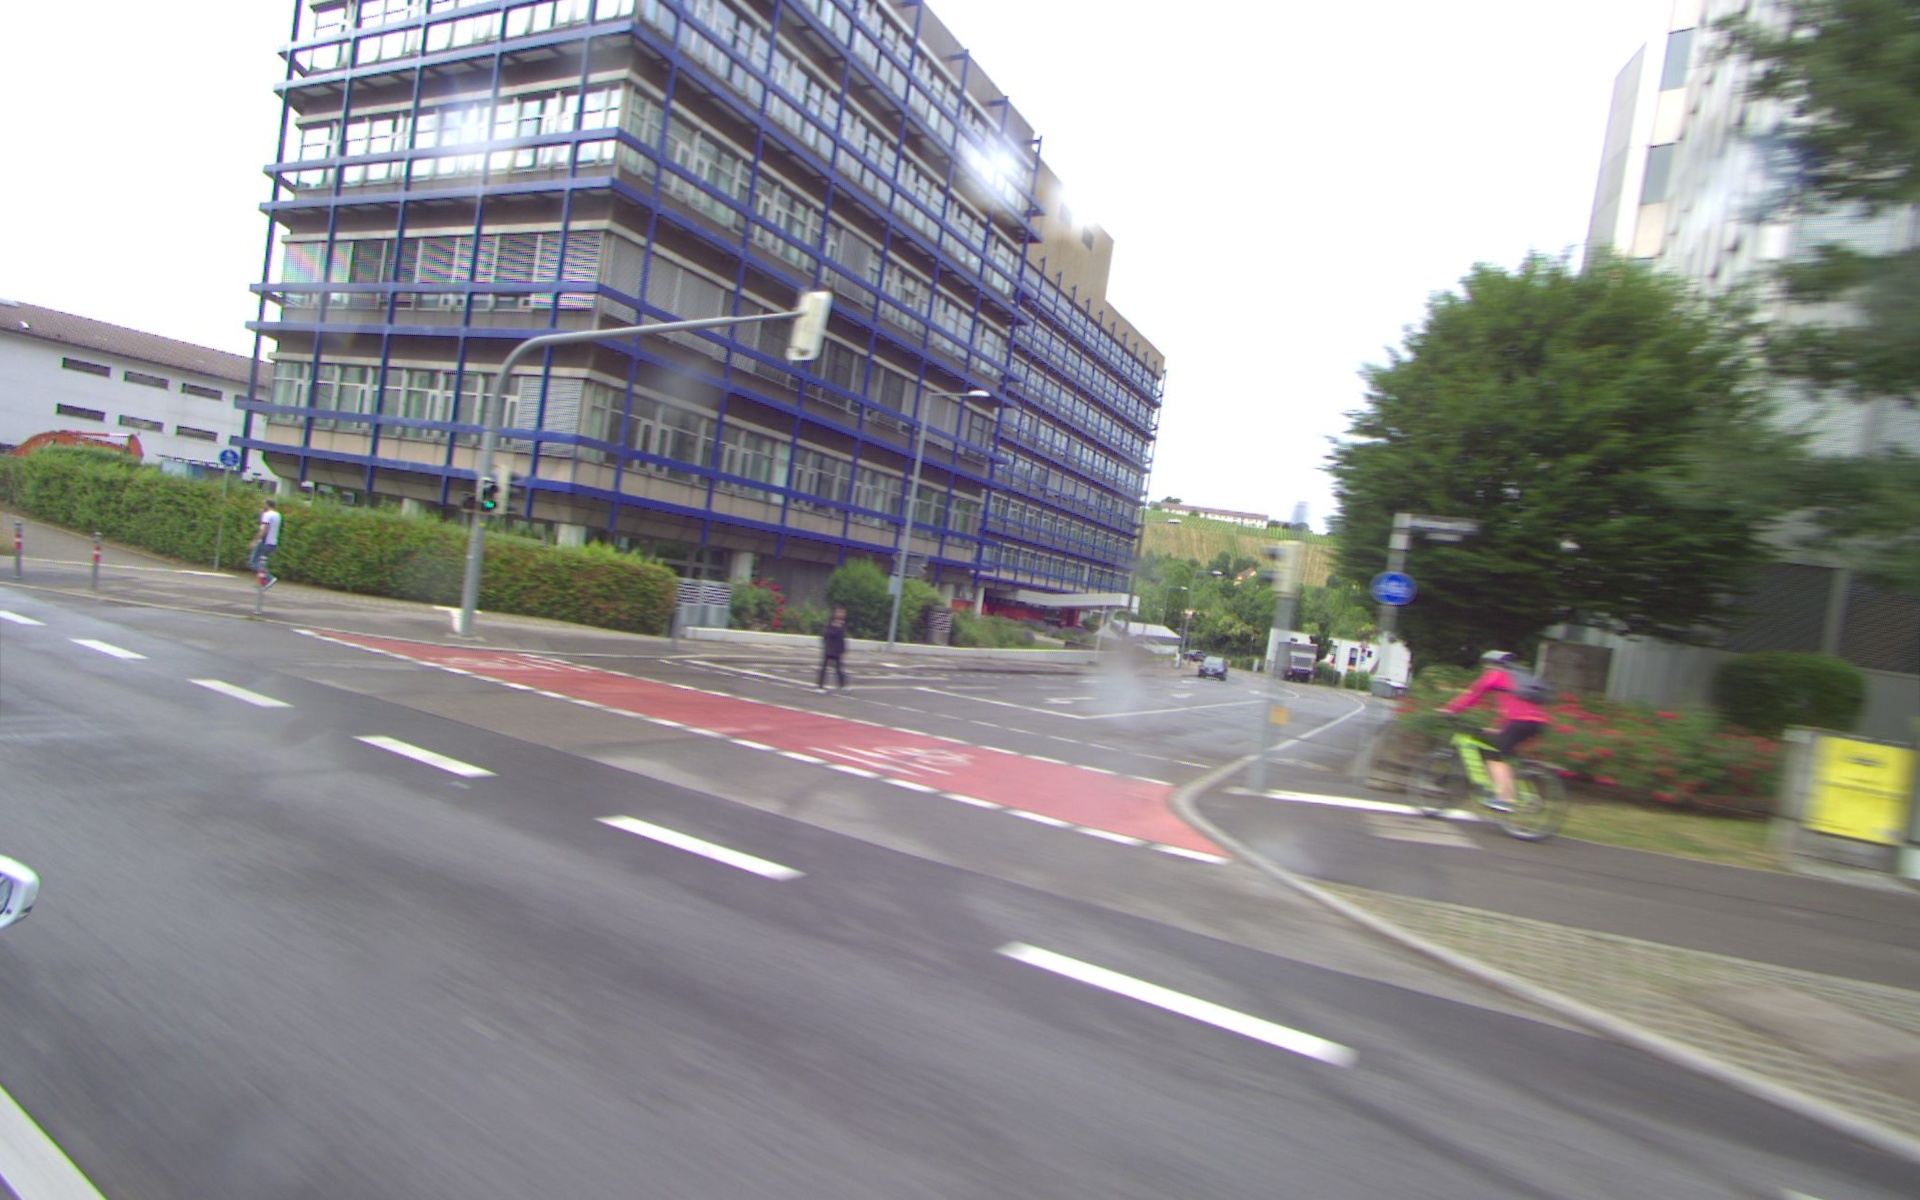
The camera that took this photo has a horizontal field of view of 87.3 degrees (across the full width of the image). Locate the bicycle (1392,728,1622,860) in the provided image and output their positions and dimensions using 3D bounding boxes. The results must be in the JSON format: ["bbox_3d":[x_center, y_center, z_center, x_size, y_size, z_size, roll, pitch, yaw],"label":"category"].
[{"bbox_3d":[5.196,1.818,9.790,0.658,0.818,2.317,8,-2,-7],"label":"bicycle"}]

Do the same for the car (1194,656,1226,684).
[{"bbox_3d":[17.810,4.966,71.555,1.962,1.658,4.005,7,-2,15],"label":"car"}]

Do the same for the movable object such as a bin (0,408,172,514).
[{"bbox_3d":[-59.936,-9.233,66.026,3.727,5.327,12.151,7,0,32],"label":"movable object such as a bin"}]

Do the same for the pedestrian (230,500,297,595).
[{"bbox_3d":[-13.204,-0.998,19.068,0.817,1.673,0.555,7,1,23],"label":"pedestrian"}]

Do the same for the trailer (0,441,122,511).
[{"bbox_3d":[-53.545,-7.330,58.823,7.355,3.078,2.649,7,-1,10],"label":"trailer"}]

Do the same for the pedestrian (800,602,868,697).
[{"bbox_3d":[-2.268,0.882,18.060,0.891,1.560,0.796,7,1,-19],"label":"pedestrian"}]

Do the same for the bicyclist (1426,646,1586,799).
[{"bbox_3d":[5.285,1.151,9.822,0.646,1.303,1.218,8,-2,-7],"label":"bicyclist"}]
